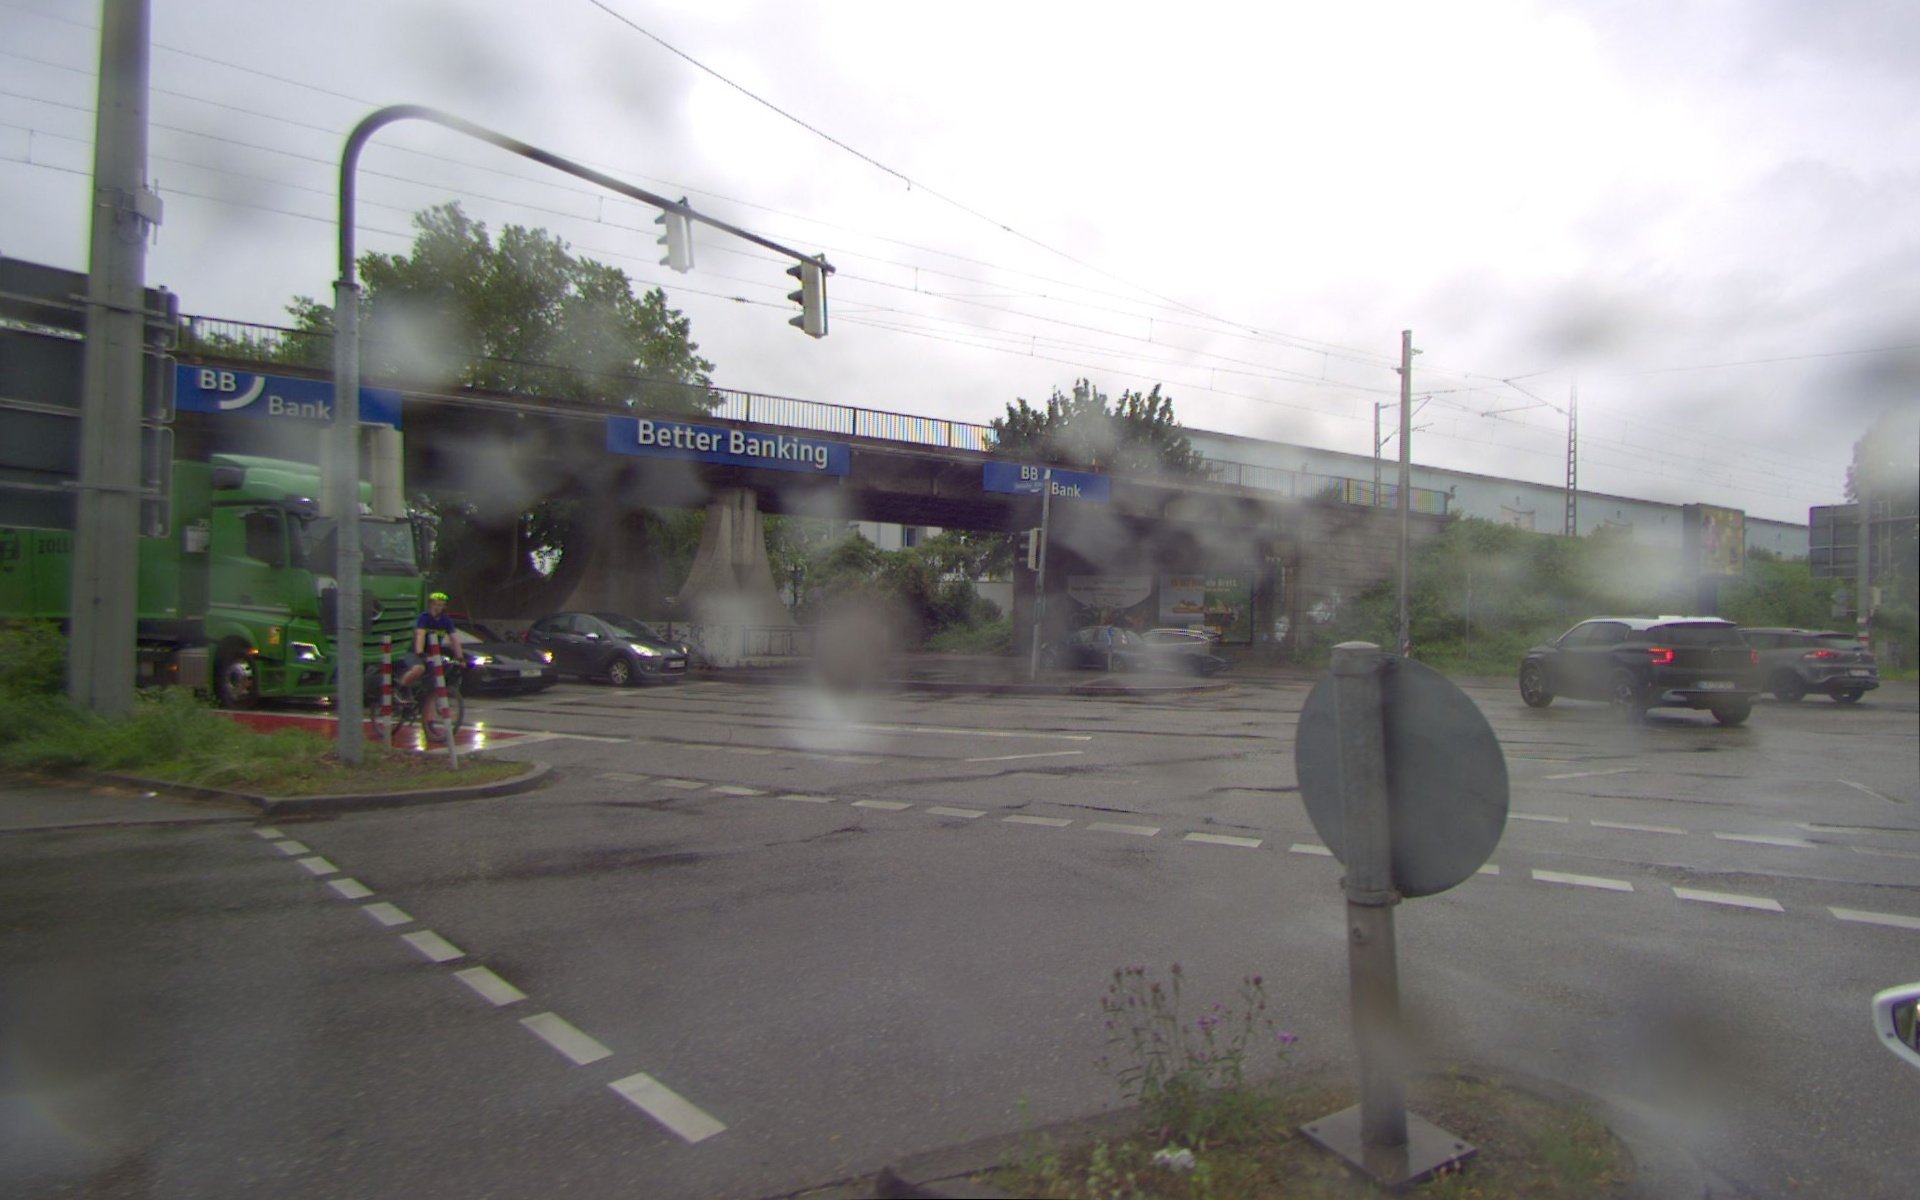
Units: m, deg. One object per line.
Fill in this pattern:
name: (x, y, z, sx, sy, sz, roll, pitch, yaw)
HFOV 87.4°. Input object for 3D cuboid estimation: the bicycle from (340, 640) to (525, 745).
bicycle: (-6.206, 1.068, 11.847, 1.874, 1.109, 0.695, 1, 0, 10)

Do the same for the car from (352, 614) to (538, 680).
car: (-12.268, 1.084, 23.942, 3.923, 1.471, 1.821, 0, -2, 22)

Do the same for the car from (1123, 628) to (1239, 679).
car: (6.928, 1.653, 31.507, 3.291, 1.493, 1.568, 0, -1, 24)

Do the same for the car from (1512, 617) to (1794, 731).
car: (11.081, 1.115, 16.470, 1.886, 1.630, 4.001, 1, -1, 1)

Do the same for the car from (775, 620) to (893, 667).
car: (-4.663, 1.593, 37.353, 3.867, 1.640, 2.000, 0, -2, 22)

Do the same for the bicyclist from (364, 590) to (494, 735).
bicyclist: (-6.241, 0.714, 11.855, 1.026, 1.614, 0.805, 2, 0, 8)

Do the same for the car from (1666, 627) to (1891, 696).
car: (16.880, 1.222, 20.878, 1.662, 1.300, 3.240, 1, -1, -23)

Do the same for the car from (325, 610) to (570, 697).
car: (-9.796, 0.958, 19.151, 4.597, 1.505, 1.744, 0, -2, 26)

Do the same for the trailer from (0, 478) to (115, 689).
trailer: (-22.022, -0.323, 21.462, 8.359, 4.039, 2.687, 0, -1, 25)

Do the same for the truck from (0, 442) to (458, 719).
truck: (-13.642, -0.262, 17.705, 9.999, 4.001, 2.687, 0, -1, 23)

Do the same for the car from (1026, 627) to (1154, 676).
car: (3.789, 1.473, 29.441, 3.403, 1.323, 1.577, -1, -2, 37)

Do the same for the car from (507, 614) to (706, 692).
car: (-7.648, 1.102, 21.763, 3.922, 1.566, 1.660, 0, -2, 21)
